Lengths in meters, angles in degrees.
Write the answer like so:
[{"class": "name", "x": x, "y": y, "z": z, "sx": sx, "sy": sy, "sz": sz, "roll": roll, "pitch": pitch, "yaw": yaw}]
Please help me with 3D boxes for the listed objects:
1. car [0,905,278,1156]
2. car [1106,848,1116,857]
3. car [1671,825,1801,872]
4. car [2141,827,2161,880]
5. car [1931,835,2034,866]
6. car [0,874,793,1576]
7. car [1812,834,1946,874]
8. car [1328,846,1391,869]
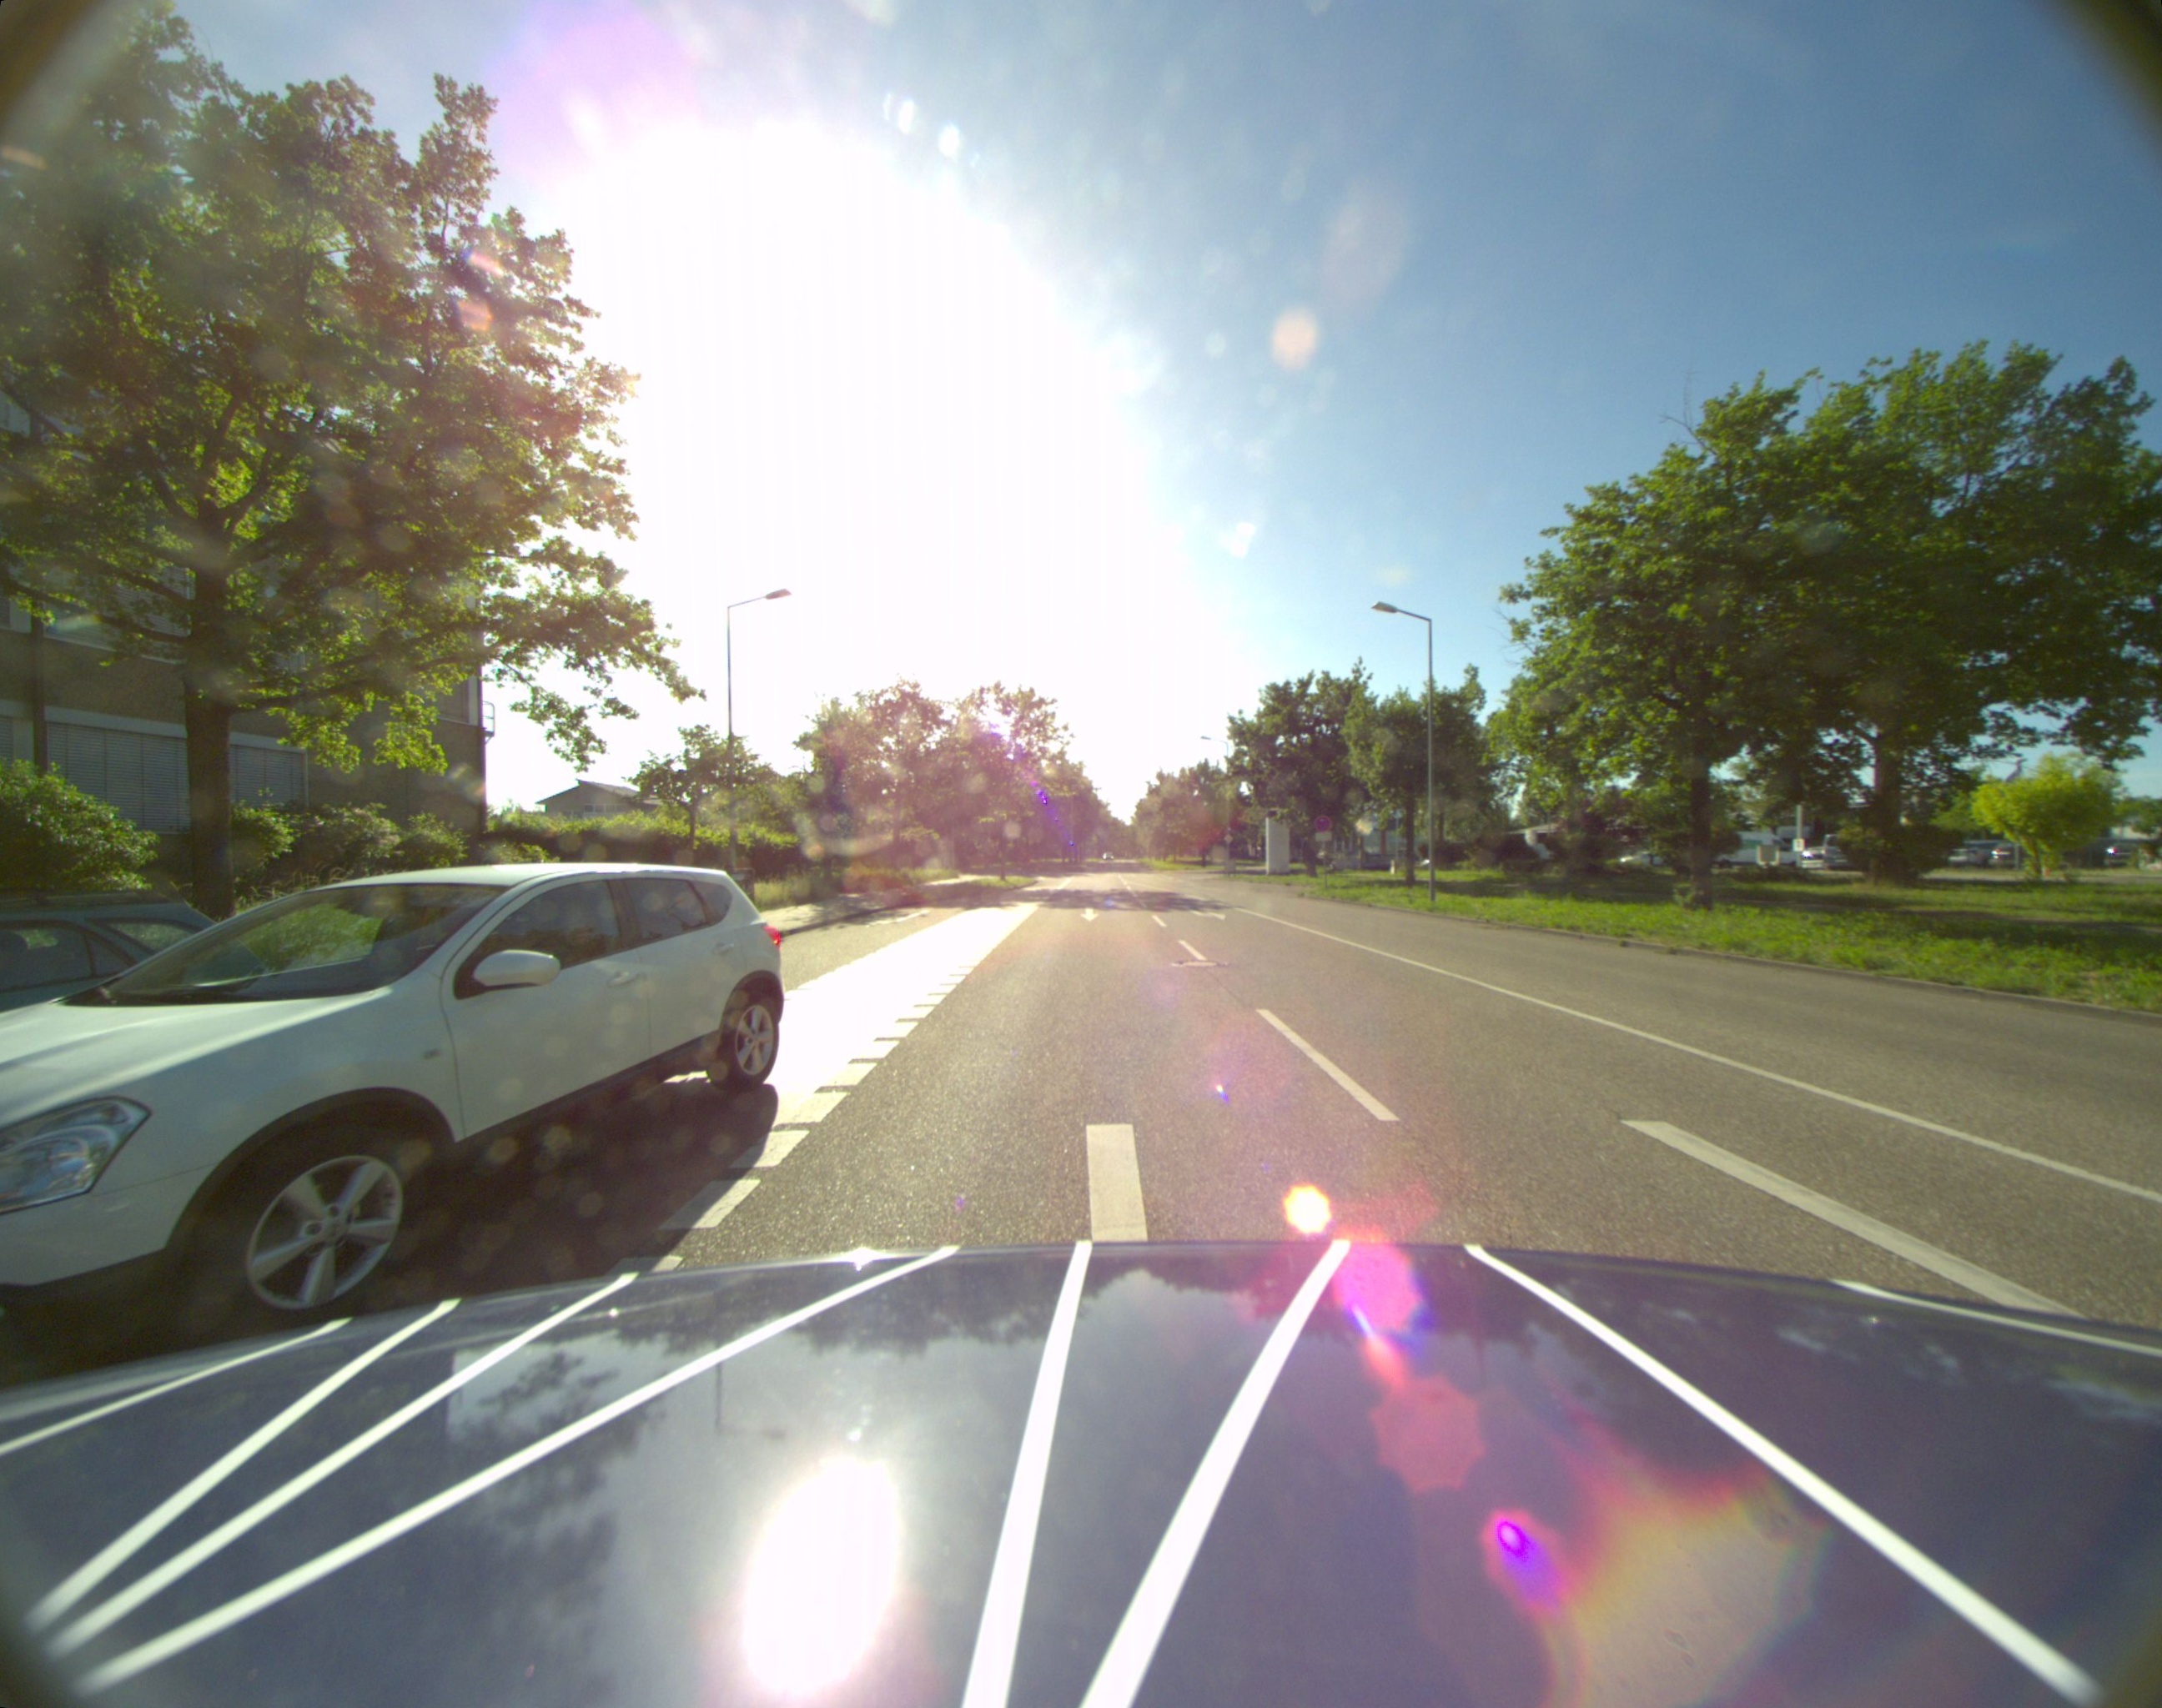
[{"class": "car", "x": -7.525, "y": 1.134, "z": 4.222, "sx": 1.706, "sy": 1.460, "sz": 4.141, "roll": -1, "pitch": -1, "yaw": 0}, {"class": "car", "x": 5.465, "y": -0.264, "z": 138.242, "sx": 1.653, "sy": 1.460, "sz": 3.941, "roll": -1, "pitch": 0, "yaw": 2}, {"class": "car", "x": 39.902, "y": -0.339, "z": 46.397, "sx": 6.023, "sy": 2.540, "sz": 2.409, "roll": -2, "pitch": 1, "yaw": -4}, {"class": "car", "x": 33.888, "y": -0.084, "z": 22.039, "sx": 3.817, "sy": 1.562, "sz": 1.736, "roll": -2, "pitch": -1, "yaw": 0}, {"class": "car", "x": 52.090, "y": -0.208, "z": 43.958, "sx": 3.860, "sy": 1.661, "sz": 1.762, "roll": -2, "pitch": 1, "yaw": 0}, {"class": "car", "x": -3.292, "y": 0.997, "z": 3.691, "sx": 1.721, "sy": 1.598, "sz": 4.070, "roll": -3, "pitch": 0, "yaw": 8}, {"class": "car", "x": 40.062, "y": -0.005, "z": 38.220, "sx": 4.642, "sy": 1.771, "sz": 1.990, "roll": -2, "pitch": 1, "yaw": 0}, {"class": "car", "x": 23.931, "y": 0.295, "z": 65.370, "sx": 4.637, "sy": 1.822, "sz": 2.000, "roll": -2, "pitch": 1, "yaw": 0}]
